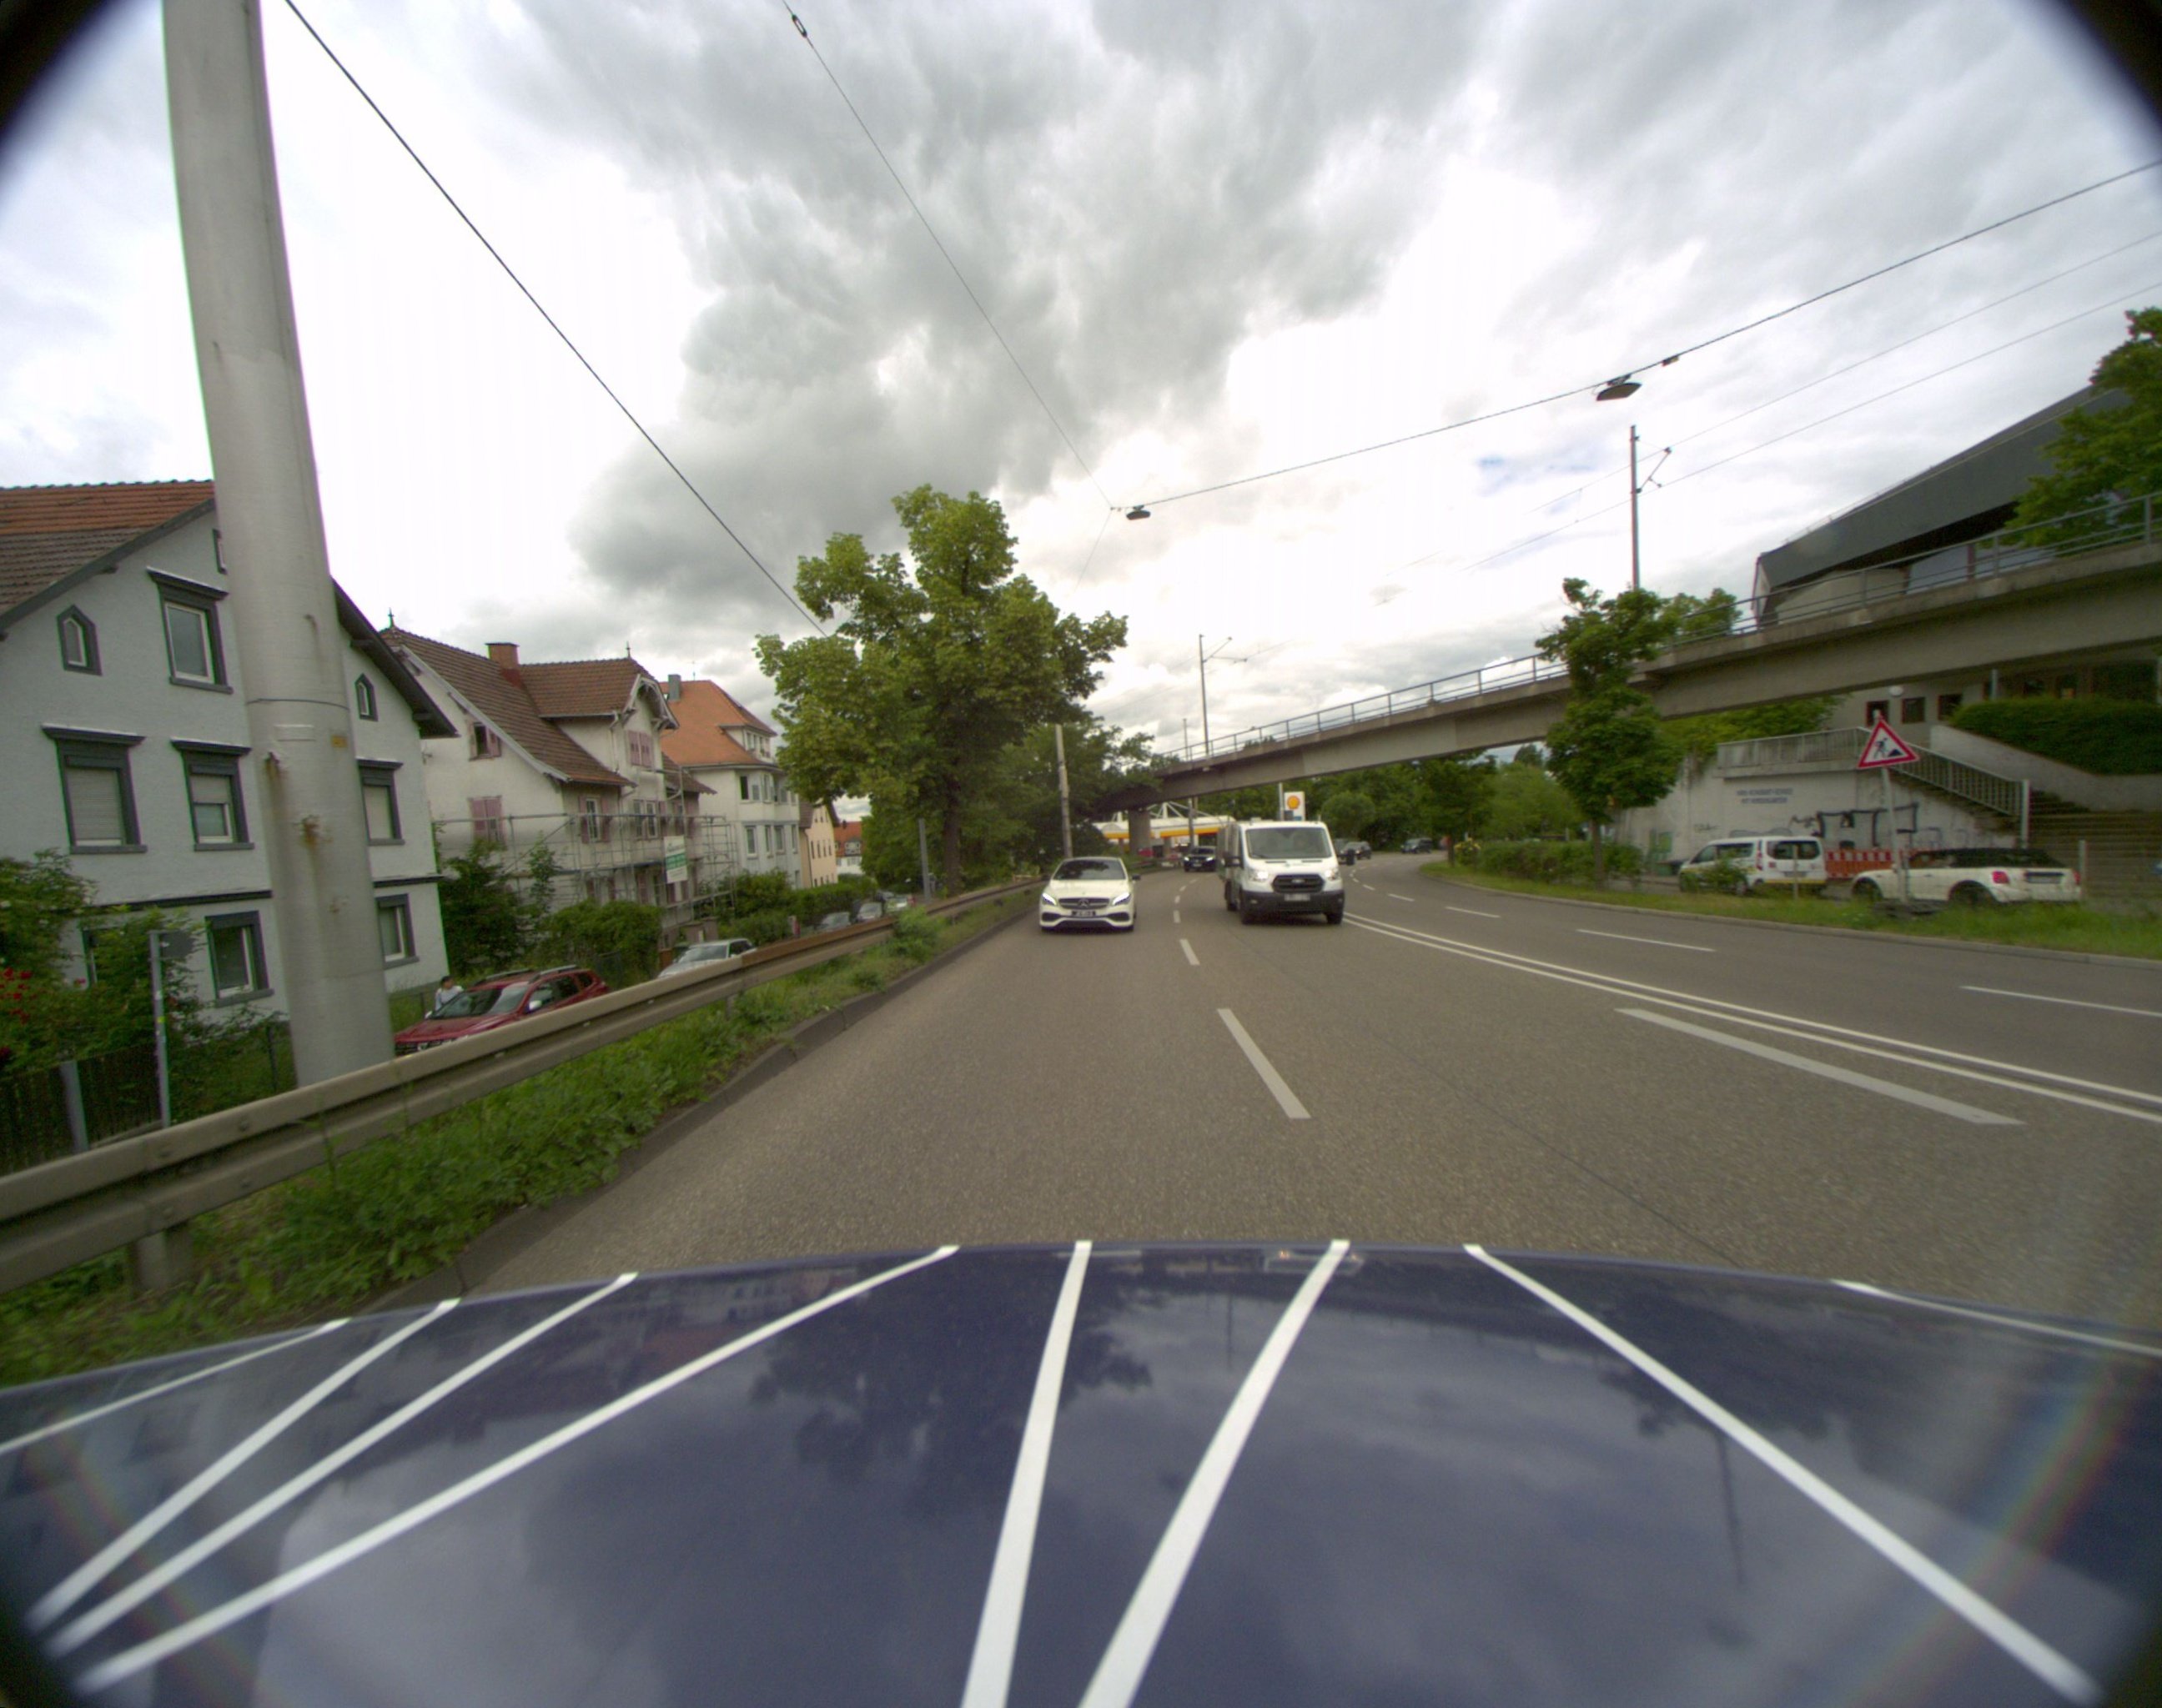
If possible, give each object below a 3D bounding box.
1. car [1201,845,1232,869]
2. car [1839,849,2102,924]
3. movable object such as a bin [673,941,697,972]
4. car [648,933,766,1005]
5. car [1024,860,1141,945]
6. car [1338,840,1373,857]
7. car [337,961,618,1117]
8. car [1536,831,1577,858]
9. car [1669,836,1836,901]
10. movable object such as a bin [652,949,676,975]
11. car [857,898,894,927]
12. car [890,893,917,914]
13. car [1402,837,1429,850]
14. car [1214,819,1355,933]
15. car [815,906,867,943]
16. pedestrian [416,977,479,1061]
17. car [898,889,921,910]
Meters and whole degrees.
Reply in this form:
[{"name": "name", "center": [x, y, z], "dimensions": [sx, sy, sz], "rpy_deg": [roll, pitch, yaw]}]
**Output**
[{"name": "car", "center": [8.457, 0.140, 47.336], "dimensions": [1.732, 1.403, 4.003], "rpy_deg": [-1, 1, 12]}, {"name": "car", "center": [19.238, 0.627, 16.742], "dimensions": [1.769, 1.411, 3.806], "rpy_deg": [0, 1, 11]}, {"name": "movable object such as a bin", "center": [-14.613, 3.786, 28.040], "dimensions": [0.580, 1.073, 0.538], "rpy_deg": [-1, 1, 1]}, {"name": "car", "center": [-11.205, 3.400, 23.119], "dimensions": [1.624, 1.432, 4.431], "rpy_deg": [-5, 0, -5]}, {"name": "car", "center": [0.173, 0.857, 15.272], "dimensions": [1.820, 1.339, 4.002], "rpy_deg": [0, 1, 8]}, {"name": "car", "center": [25.326, -0.493, 70.022], "dimensions": [1.726, 1.469, 4.008], "rpy_deg": [-1, 1, 39]}, {"name": "car", "center": [-10.509, 3.126, 13.736], "dimensions": [1.787, 1.660, 4.201], "rpy_deg": [-5, 0, -4]}, {"name": "car", "center": [43.229, -0.895, 69.008], "dimensions": [2.268, 2.260, 6.339], "rpy_deg": [1, 2, 40]}, {"name": "car", "center": [20.364, 0.371, 23.324], "dimensions": [1.769, 1.775, 4.468], "rpy_deg": [1, 1, 11]}, {"name": "movable object such as a bin", "center": [-15.240, 3.945, 27.770], "dimensions": [0.538, 0.877, 0.580], "rpy_deg": [-1, 1, 1]}, {"name": "car", "center": [-13.233, 3.743, 49.152], "dimensions": [1.624, 1.439, 4.027], "rpy_deg": [-5, 0, -7]}, {"name": "car", "center": [-14.229, 3.940, 61.121], "dimensions": [1.650, 1.386, 3.768], "rpy_deg": [-5, 0, -7]}, {"name": "car", "center": [39.907, -1.232, 90.669], "dimensions": [1.726, 1.469, 4.008], "rpy_deg": [-1, 1, 43]}, {"name": "car", "center": [4.404, 0.378, 17.537], "dimensions": [1.998, 2.161, 6.269], "rpy_deg": [0, 1, 4]}, {"name": "car", "center": [-12.387, 3.625, 39.386], "dimensions": [1.624, 1.439, 4.056], "rpy_deg": [-5, 0, -5]}, {"name": "pedestrian", "center": [-12.456, 3.225, 14.949], "dimensions": [0.619, 1.472, 0.589], "rpy_deg": [-5, 1, -3]}, {"name": "car", "center": [-14.982, 3.922, 66.518], "dimensions": [1.624, 1.512, 4.301], "rpy_deg": [-5, 0, -10]}]
